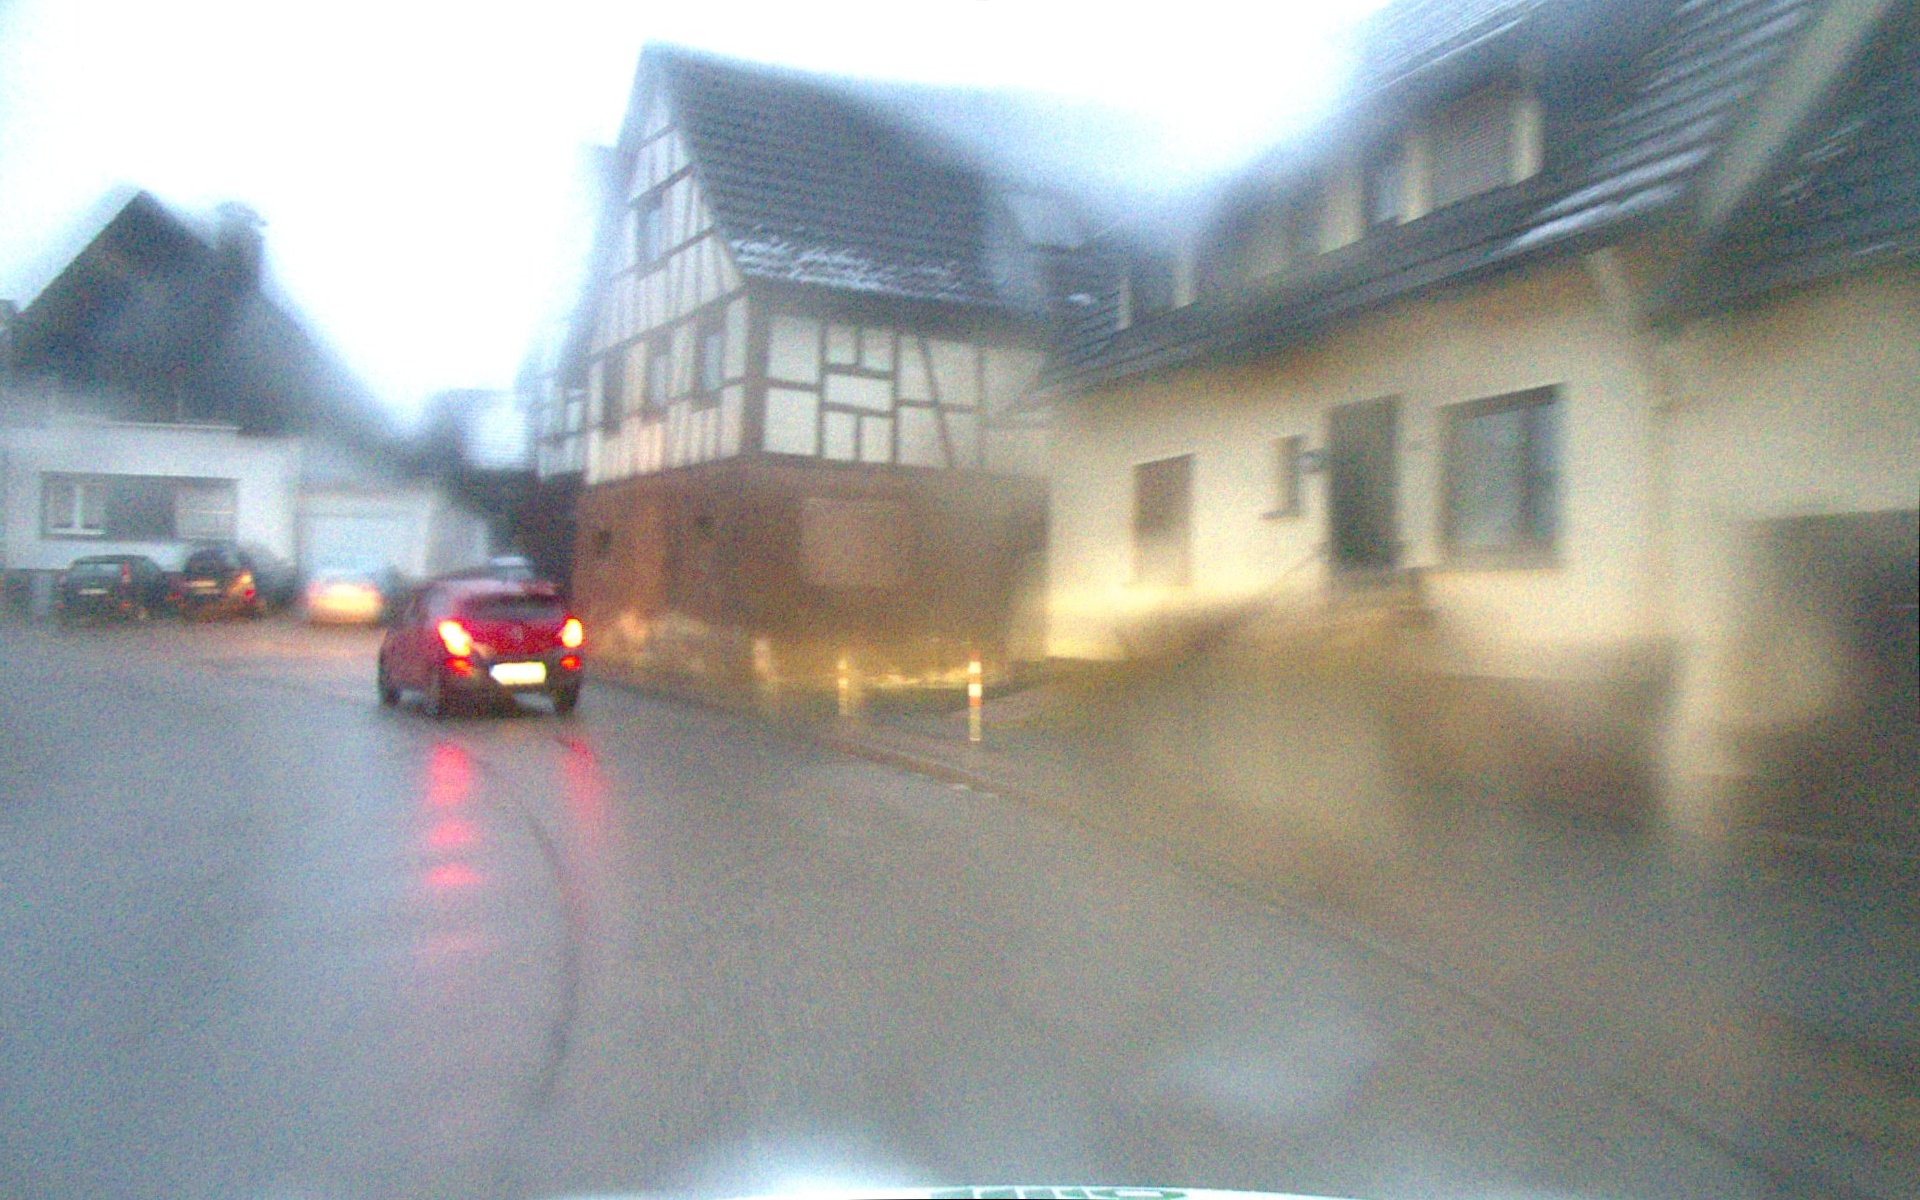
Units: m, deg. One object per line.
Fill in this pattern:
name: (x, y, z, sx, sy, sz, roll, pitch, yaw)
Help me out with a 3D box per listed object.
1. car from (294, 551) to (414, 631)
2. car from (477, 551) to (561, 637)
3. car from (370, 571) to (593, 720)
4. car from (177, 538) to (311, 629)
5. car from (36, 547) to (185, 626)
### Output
car: (-13.132, -0.246, 36.070, 1.777, 1.445, 4.030, 0, 4, -11)
car: (-9.520, -0.180, 35.570, 1.567, 1.541, 3.967, -1, 5, -17)
car: (-5.490, 0.461, 18.701, 1.530, 1.491, 3.661, 3, 0, -30)
car: (-15.704, -0.430, 36.523, 1.817, 1.689, 4.465, 0, 4, -12)
car: (-18.660, -0.345, 36.530, 1.849, 1.474, 3.886, 0, 4, -11)
